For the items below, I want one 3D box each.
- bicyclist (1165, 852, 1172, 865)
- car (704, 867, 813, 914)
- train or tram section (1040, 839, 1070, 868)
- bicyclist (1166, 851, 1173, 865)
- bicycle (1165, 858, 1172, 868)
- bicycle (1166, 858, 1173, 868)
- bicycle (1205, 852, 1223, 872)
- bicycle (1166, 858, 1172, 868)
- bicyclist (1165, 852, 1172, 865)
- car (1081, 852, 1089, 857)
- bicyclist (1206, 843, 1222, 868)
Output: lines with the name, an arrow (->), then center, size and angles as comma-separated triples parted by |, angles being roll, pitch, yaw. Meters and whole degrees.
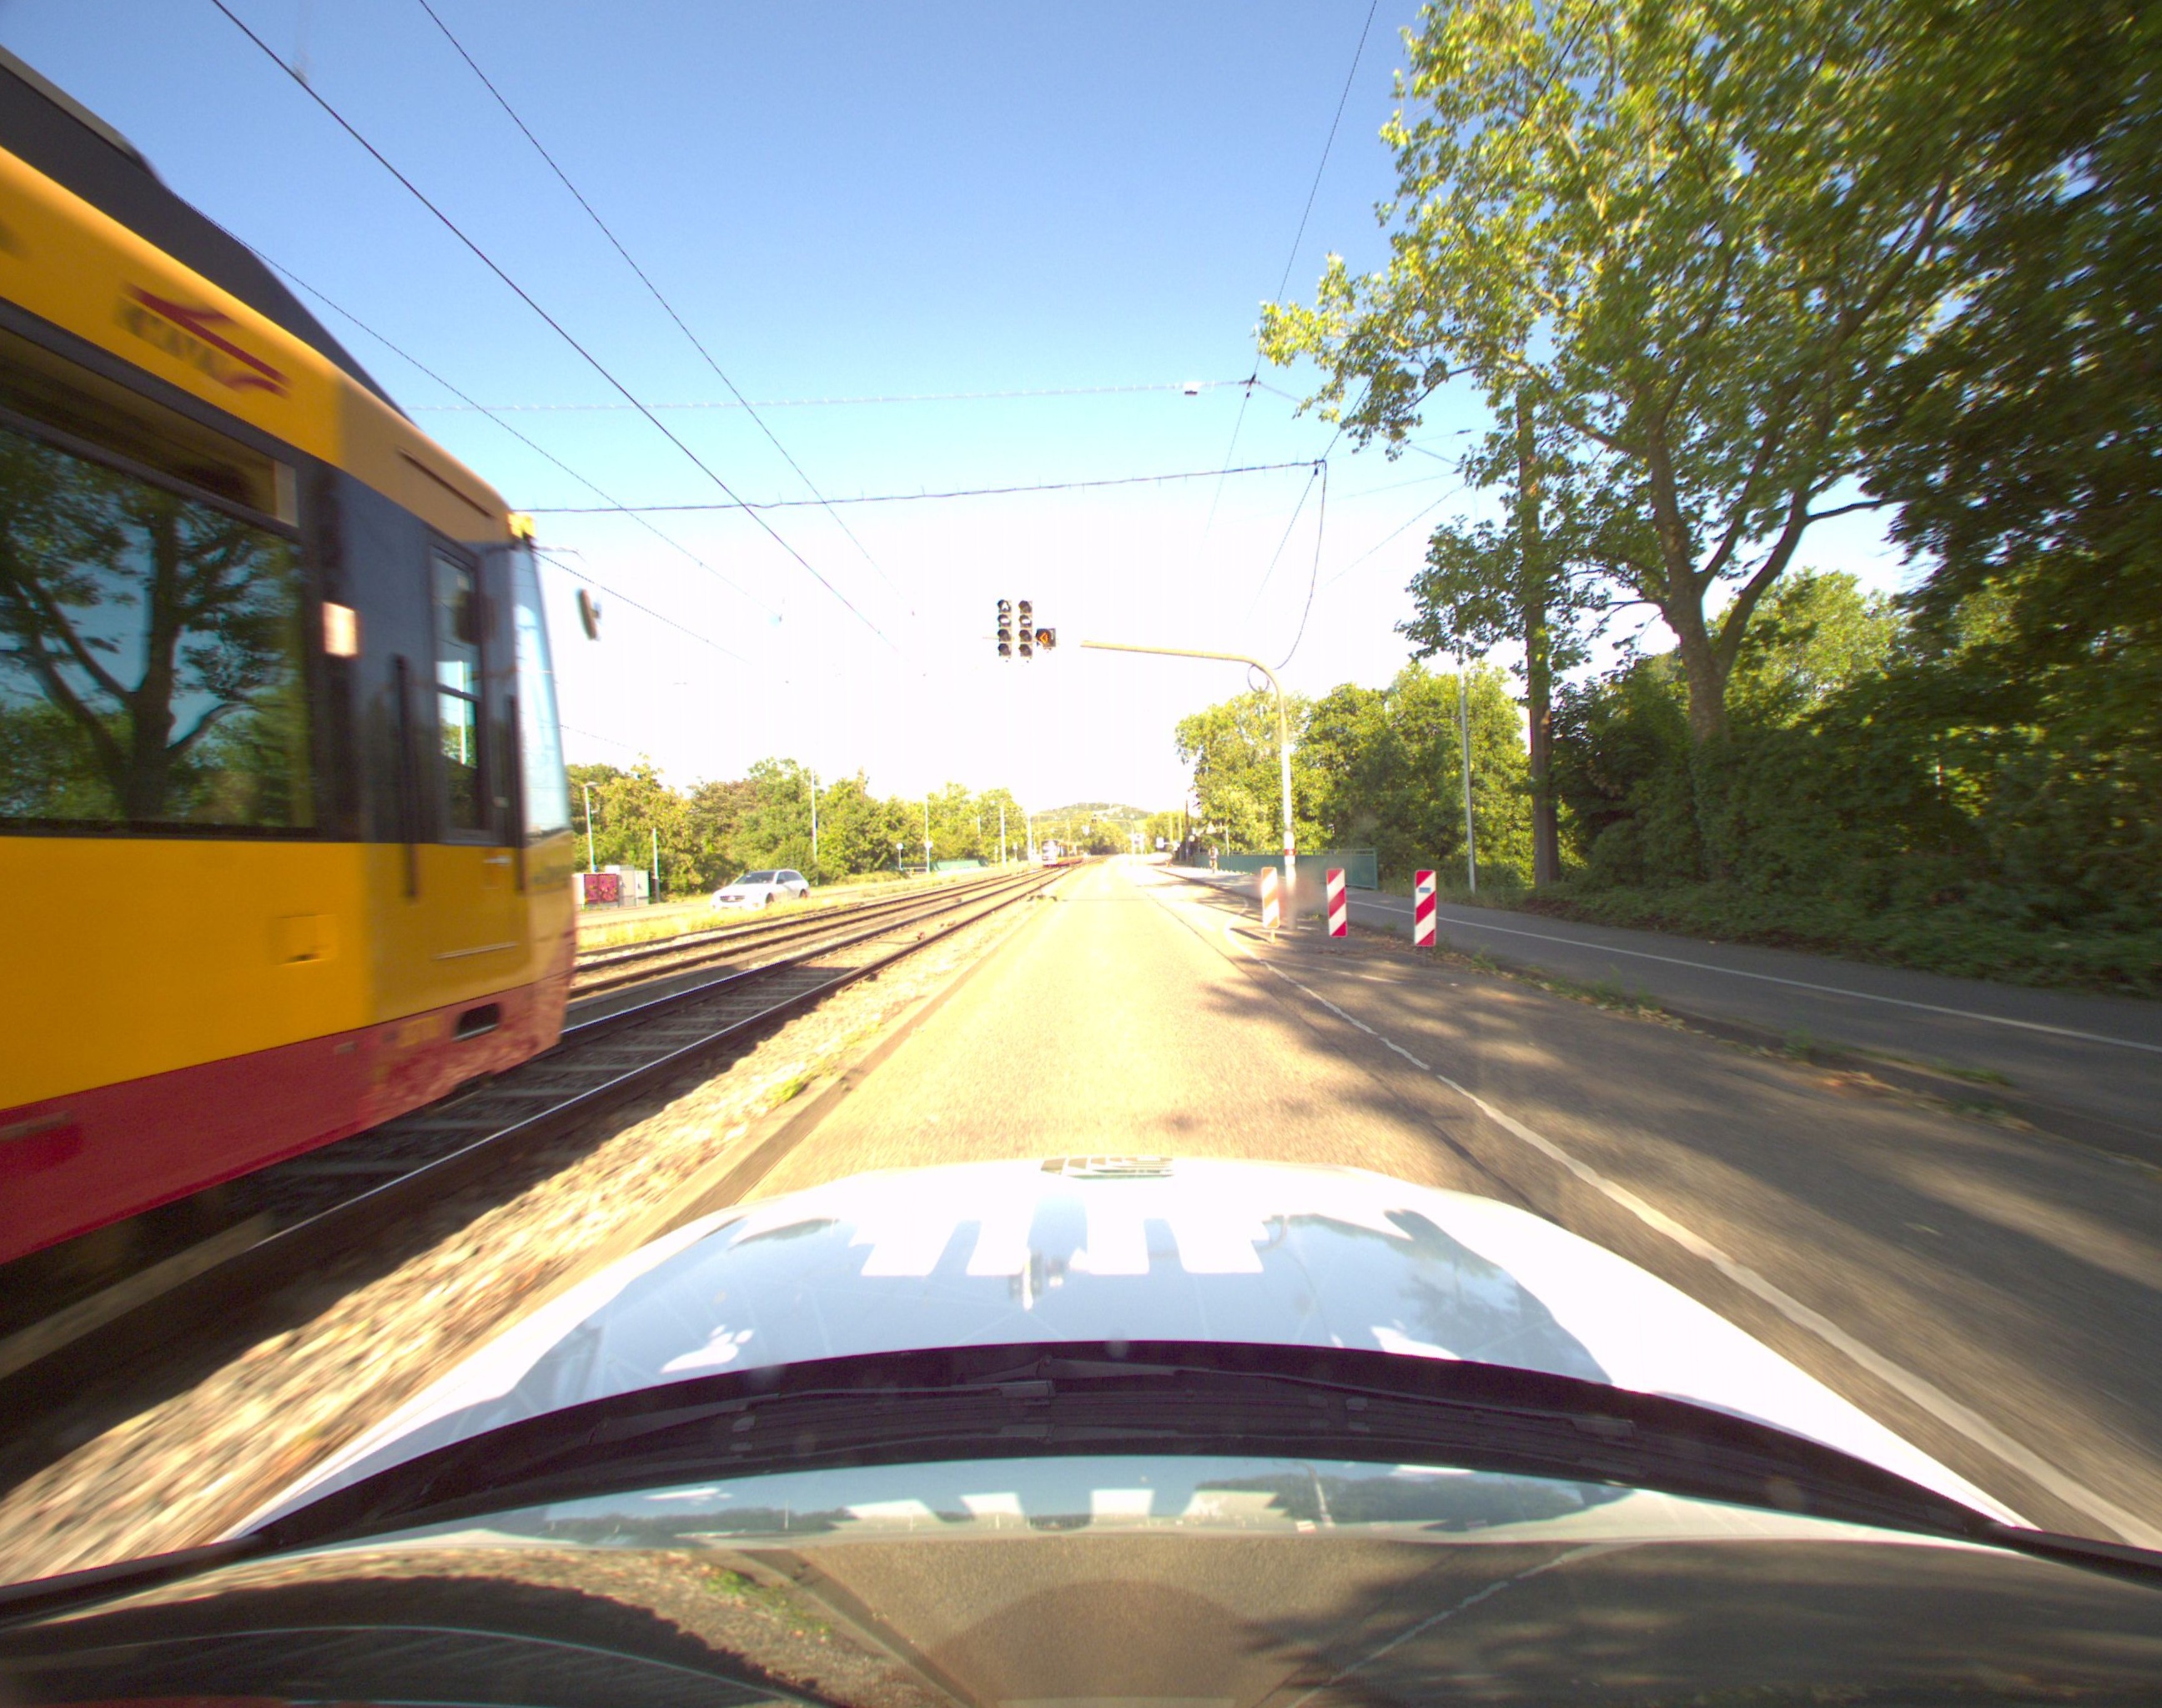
bicyclist -> 9.457, 0.502, 87.792 | 0.602, 1.379, 0.975 | -2, 0, 1
car -> -11.336, 1.225, 29.049 | 1.760, 1.413, 4.914 | -2, 0, 2
train or tram section -> -3.330, -0.131, 107.479 | 2.631, 3.567, 10.848 | -2, 0, 5
bicyclist -> 8.971, 0.429, 82.836 | 0.602, 1.379, 0.975 | -2, 0, 1
bicycle -> 9.786, 1.018, 91.120 | 0.537, 1.042, 1.976 | -2, 0, 2
bicycle -> 8.995, 0.927, 82.950 | 0.513, 1.042, 1.976 | -2, 0, 2
bicycle -> 8.304, 0.465, 50.907 | 0.725, 1.176, 2.695 | -2, 0, 2
bicycle -> 9.474, 1.012, 87.787 | 0.537, 1.042, 1.976 | -2, 0, 2
bicyclist -> 9.778, 0.512, 91.187 | 0.602, 1.379, 0.975 | -2, 0, 1
car -> 1.111, 0.185, 227.272 | 1.943, 1.486, 4.001 | -2, 0, 1
bicyclist -> 8.290, 0.102, 50.878 | 0.821, 1.520, 0.975 | -2, 0, 1
